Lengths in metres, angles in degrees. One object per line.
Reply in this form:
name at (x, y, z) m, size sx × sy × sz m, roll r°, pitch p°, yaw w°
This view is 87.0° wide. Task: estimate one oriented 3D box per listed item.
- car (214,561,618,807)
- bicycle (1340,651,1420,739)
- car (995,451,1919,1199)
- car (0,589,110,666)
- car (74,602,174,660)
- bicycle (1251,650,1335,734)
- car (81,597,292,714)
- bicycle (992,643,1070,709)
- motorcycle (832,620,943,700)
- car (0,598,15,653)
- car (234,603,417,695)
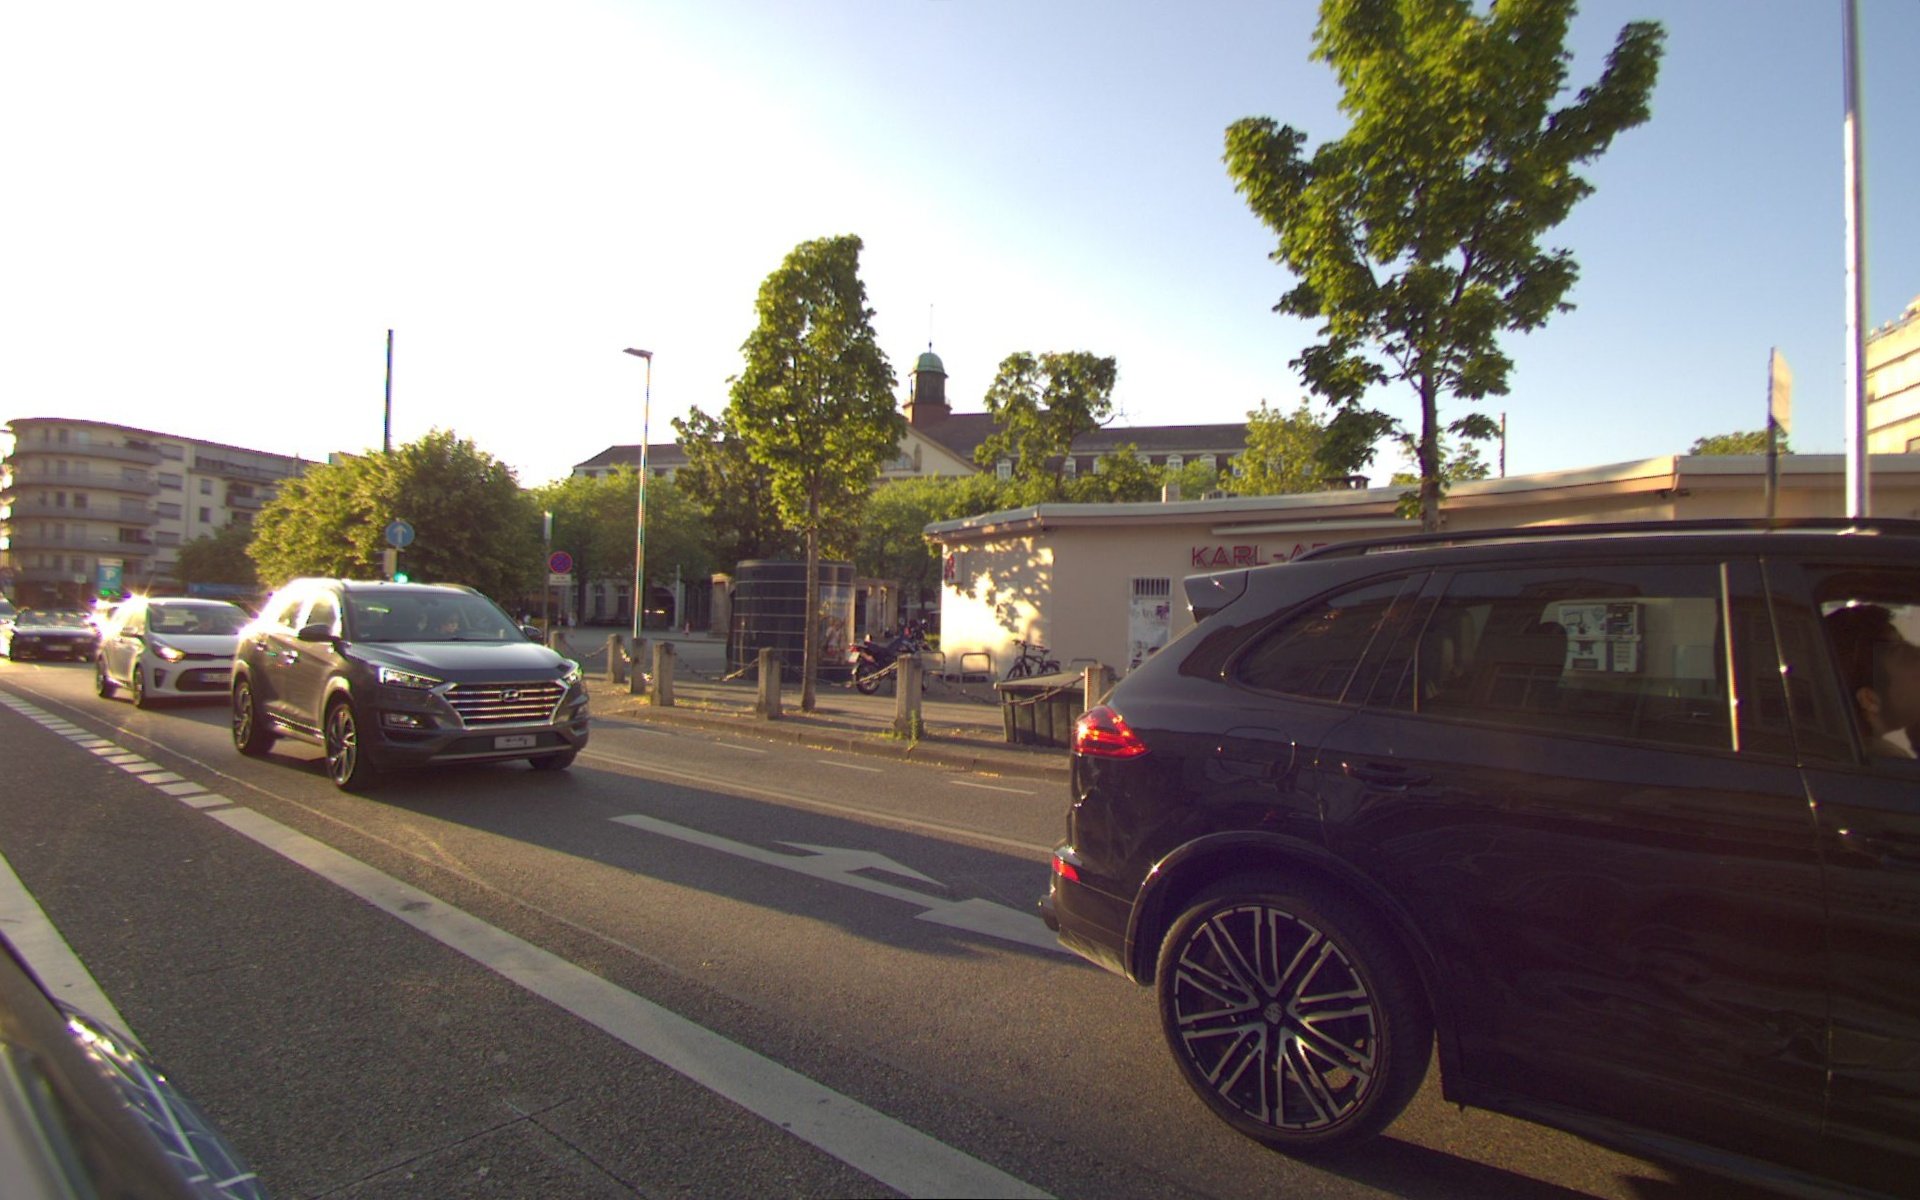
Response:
car at (-5.056, 0.633, 9.154) m, size 4.257 × 1.711 × 1.803 m, roll -1°, pitch -3°, yaw 41°
bicycle at (5.844, 1.288, 14.023) m, size 0.448 × 1.122 × 1.846 m, roll 0°, pitch -2°, yaw 41°
car at (2.428, 0.600, 2.482) m, size 4.565 × 1.711 × 1.782 m, roll 0°, pitch -2°, yaw 40°
car at (-23.105, 0.698, 25.599) m, size 3.983 × 1.754 × 1.803 m, roll 0°, pitch -4°, yaw 41°
car at (-27.662, 1.011, 33.452) m, size 3.983 × 1.711 × 1.803 m, roll 0°, pitch -5°, yaw 41°
bicycle at (4.829, 1.300, 14.603) m, size 0.448 × 1.122 × 1.846 m, roll 0°, pitch -2°, yaw 41°
car at (-11.427, 0.742, 14.862) m, size 3.983 × 1.483 × 1.696 m, roll 0°, pitch -2°, yaw 41°
bicycle at (1.282, 1.321, 17.871) m, size 0.395 × 1.111 × 1.787 m, roll -1°, pitch -3°, yaw 40°
motorcycle at (-1.375, 1.148, 19.718) m, size 0.700 × 1.457 × 2.368 m, roll -1°, pitch -3°, yaw 40°
car at (-33.007, 0.789, 33.676) m, size 3.983 × 1.754 × 1.803 m, roll 0°, pitch -4°, yaw 41°
car at (-12.450, 0.904, 19.773) m, size 3.997 × 1.615 × 1.856 m, roll 0°, pitch -2°, yaw 40°
